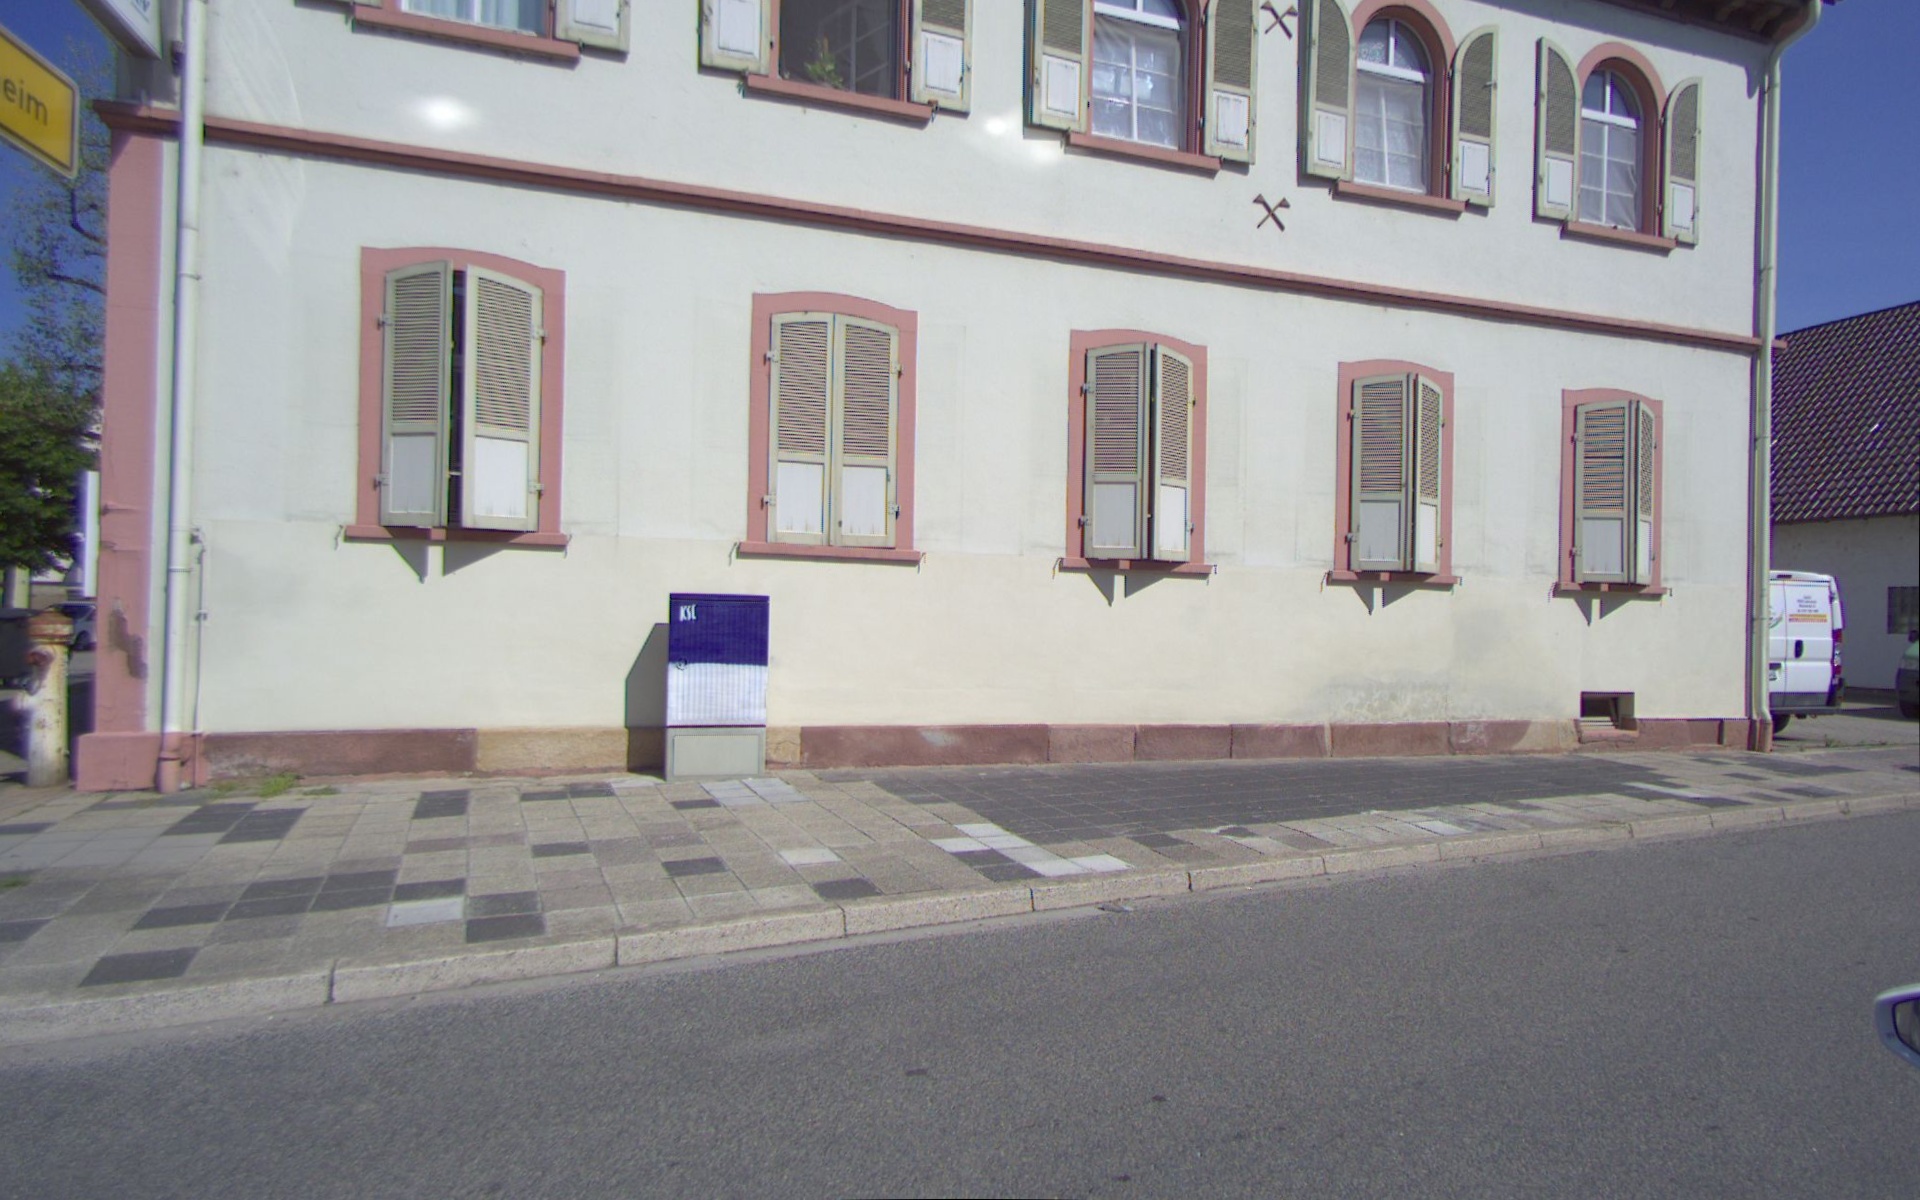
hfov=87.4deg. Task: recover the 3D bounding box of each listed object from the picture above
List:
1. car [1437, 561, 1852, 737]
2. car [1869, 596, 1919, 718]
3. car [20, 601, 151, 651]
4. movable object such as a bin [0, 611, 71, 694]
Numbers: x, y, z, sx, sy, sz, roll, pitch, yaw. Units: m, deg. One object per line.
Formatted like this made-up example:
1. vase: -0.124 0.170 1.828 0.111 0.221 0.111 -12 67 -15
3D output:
1. car: 10.096 0.651 15.484 2.087 2.226 5.176 1 0 -15
2. car: 17.899 0.983 17.102 4.606 1.990 1.988 1 -1 -25
3. car: -29.897 0.880 34.503 1.969 1.595 3.984 1 -1 -18
4. movable object such as a bin: -15.774 0.863 16.730 1.171 1.356 0.787 1 -1 -14
